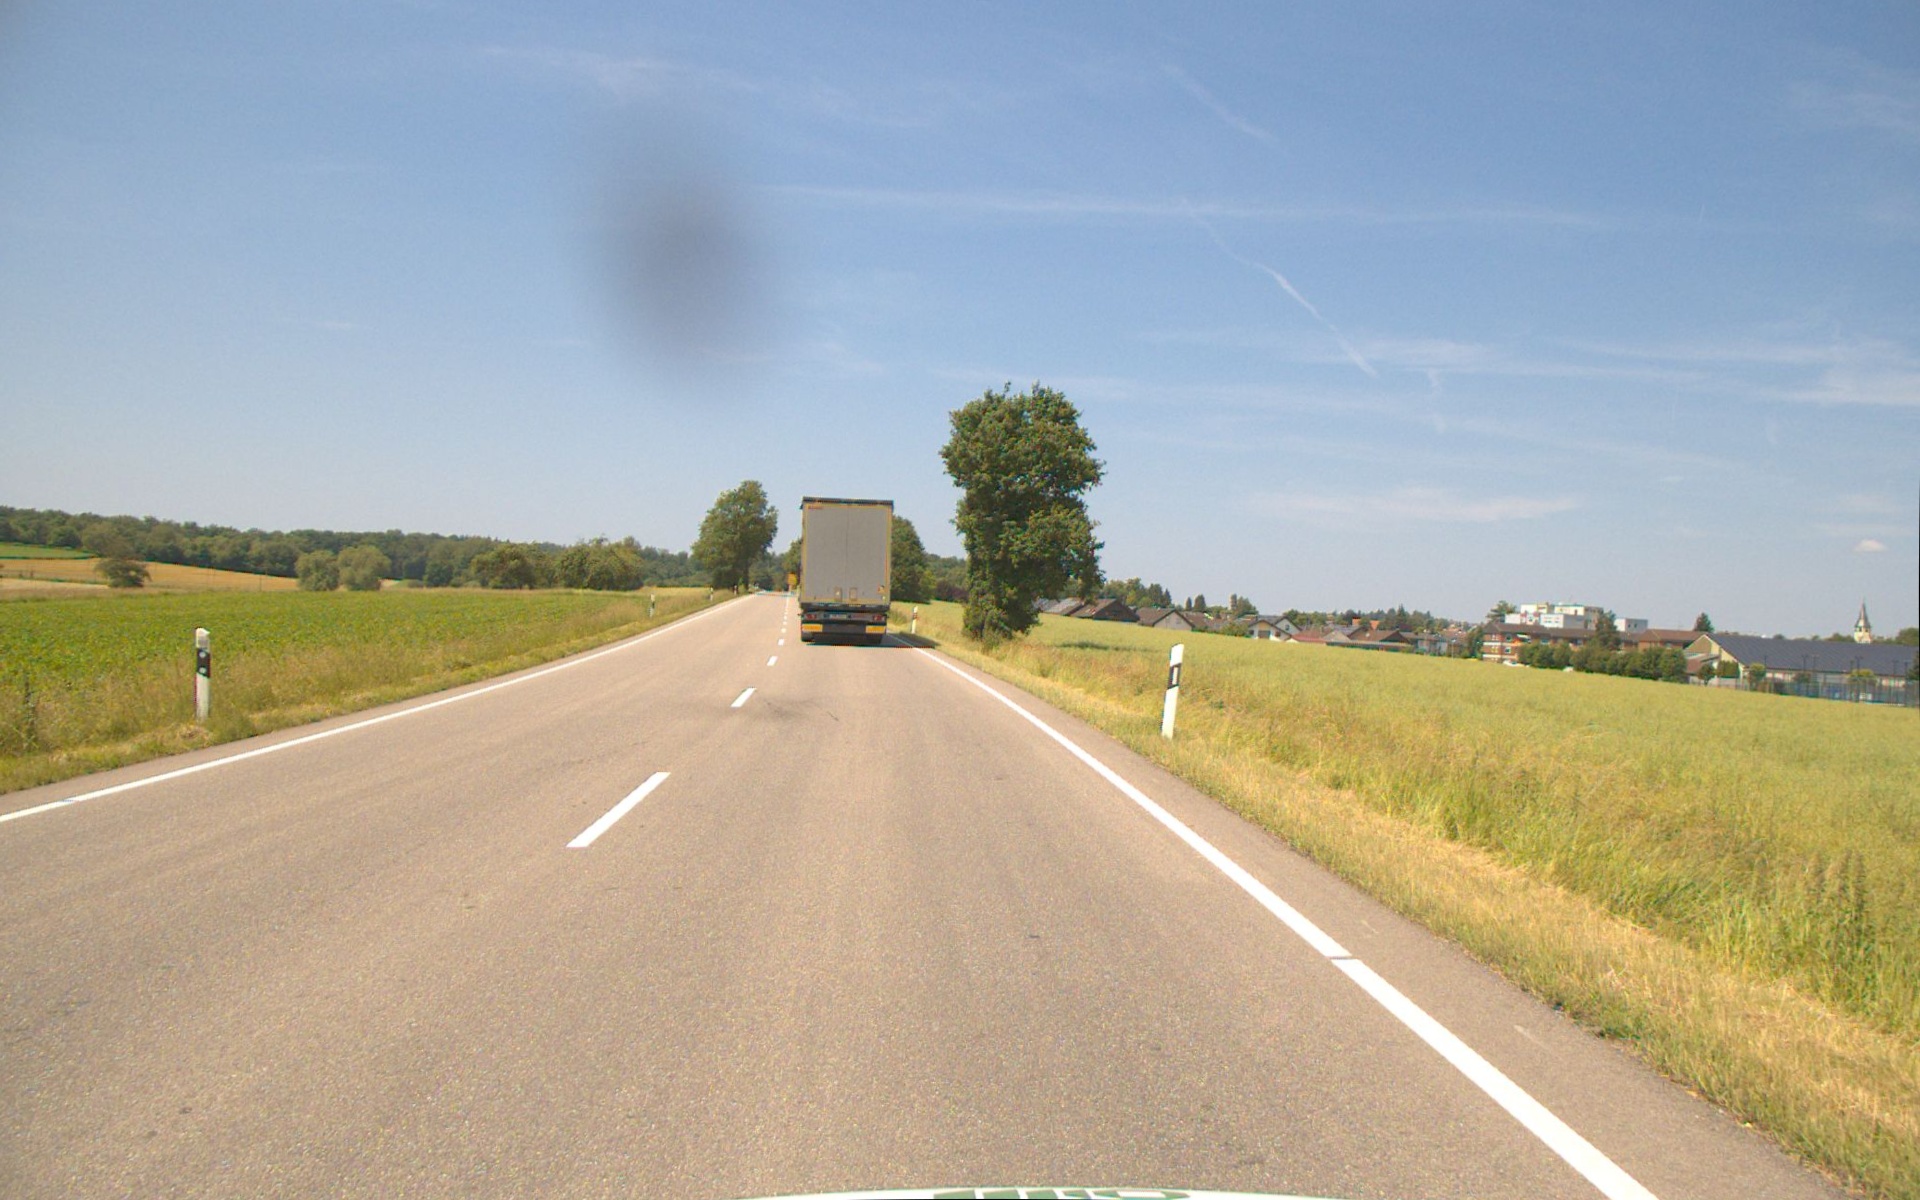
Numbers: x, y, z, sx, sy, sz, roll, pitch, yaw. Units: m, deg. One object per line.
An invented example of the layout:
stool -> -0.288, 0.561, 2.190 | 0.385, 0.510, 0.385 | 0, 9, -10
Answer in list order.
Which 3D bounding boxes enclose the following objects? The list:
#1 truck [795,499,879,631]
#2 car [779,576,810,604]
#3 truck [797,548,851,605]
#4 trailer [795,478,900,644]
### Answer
truck -> -4.444, -1.224, 58.989 | 2.804, 4.477, 5.065 | 1, 0, -6
car -> -11.725, -0.710, 117.193 | 1.689, 1.905, 4.001 | 1, 0, 1
truck -> -11.485, -1.906, 141.592 | 3.477, 4.469, 18.115 | 2, 0, -2
trailer -> -3.723, -1.109, 51.826 | 2.811, 4.477, 13.477 | 1, 0, -6
